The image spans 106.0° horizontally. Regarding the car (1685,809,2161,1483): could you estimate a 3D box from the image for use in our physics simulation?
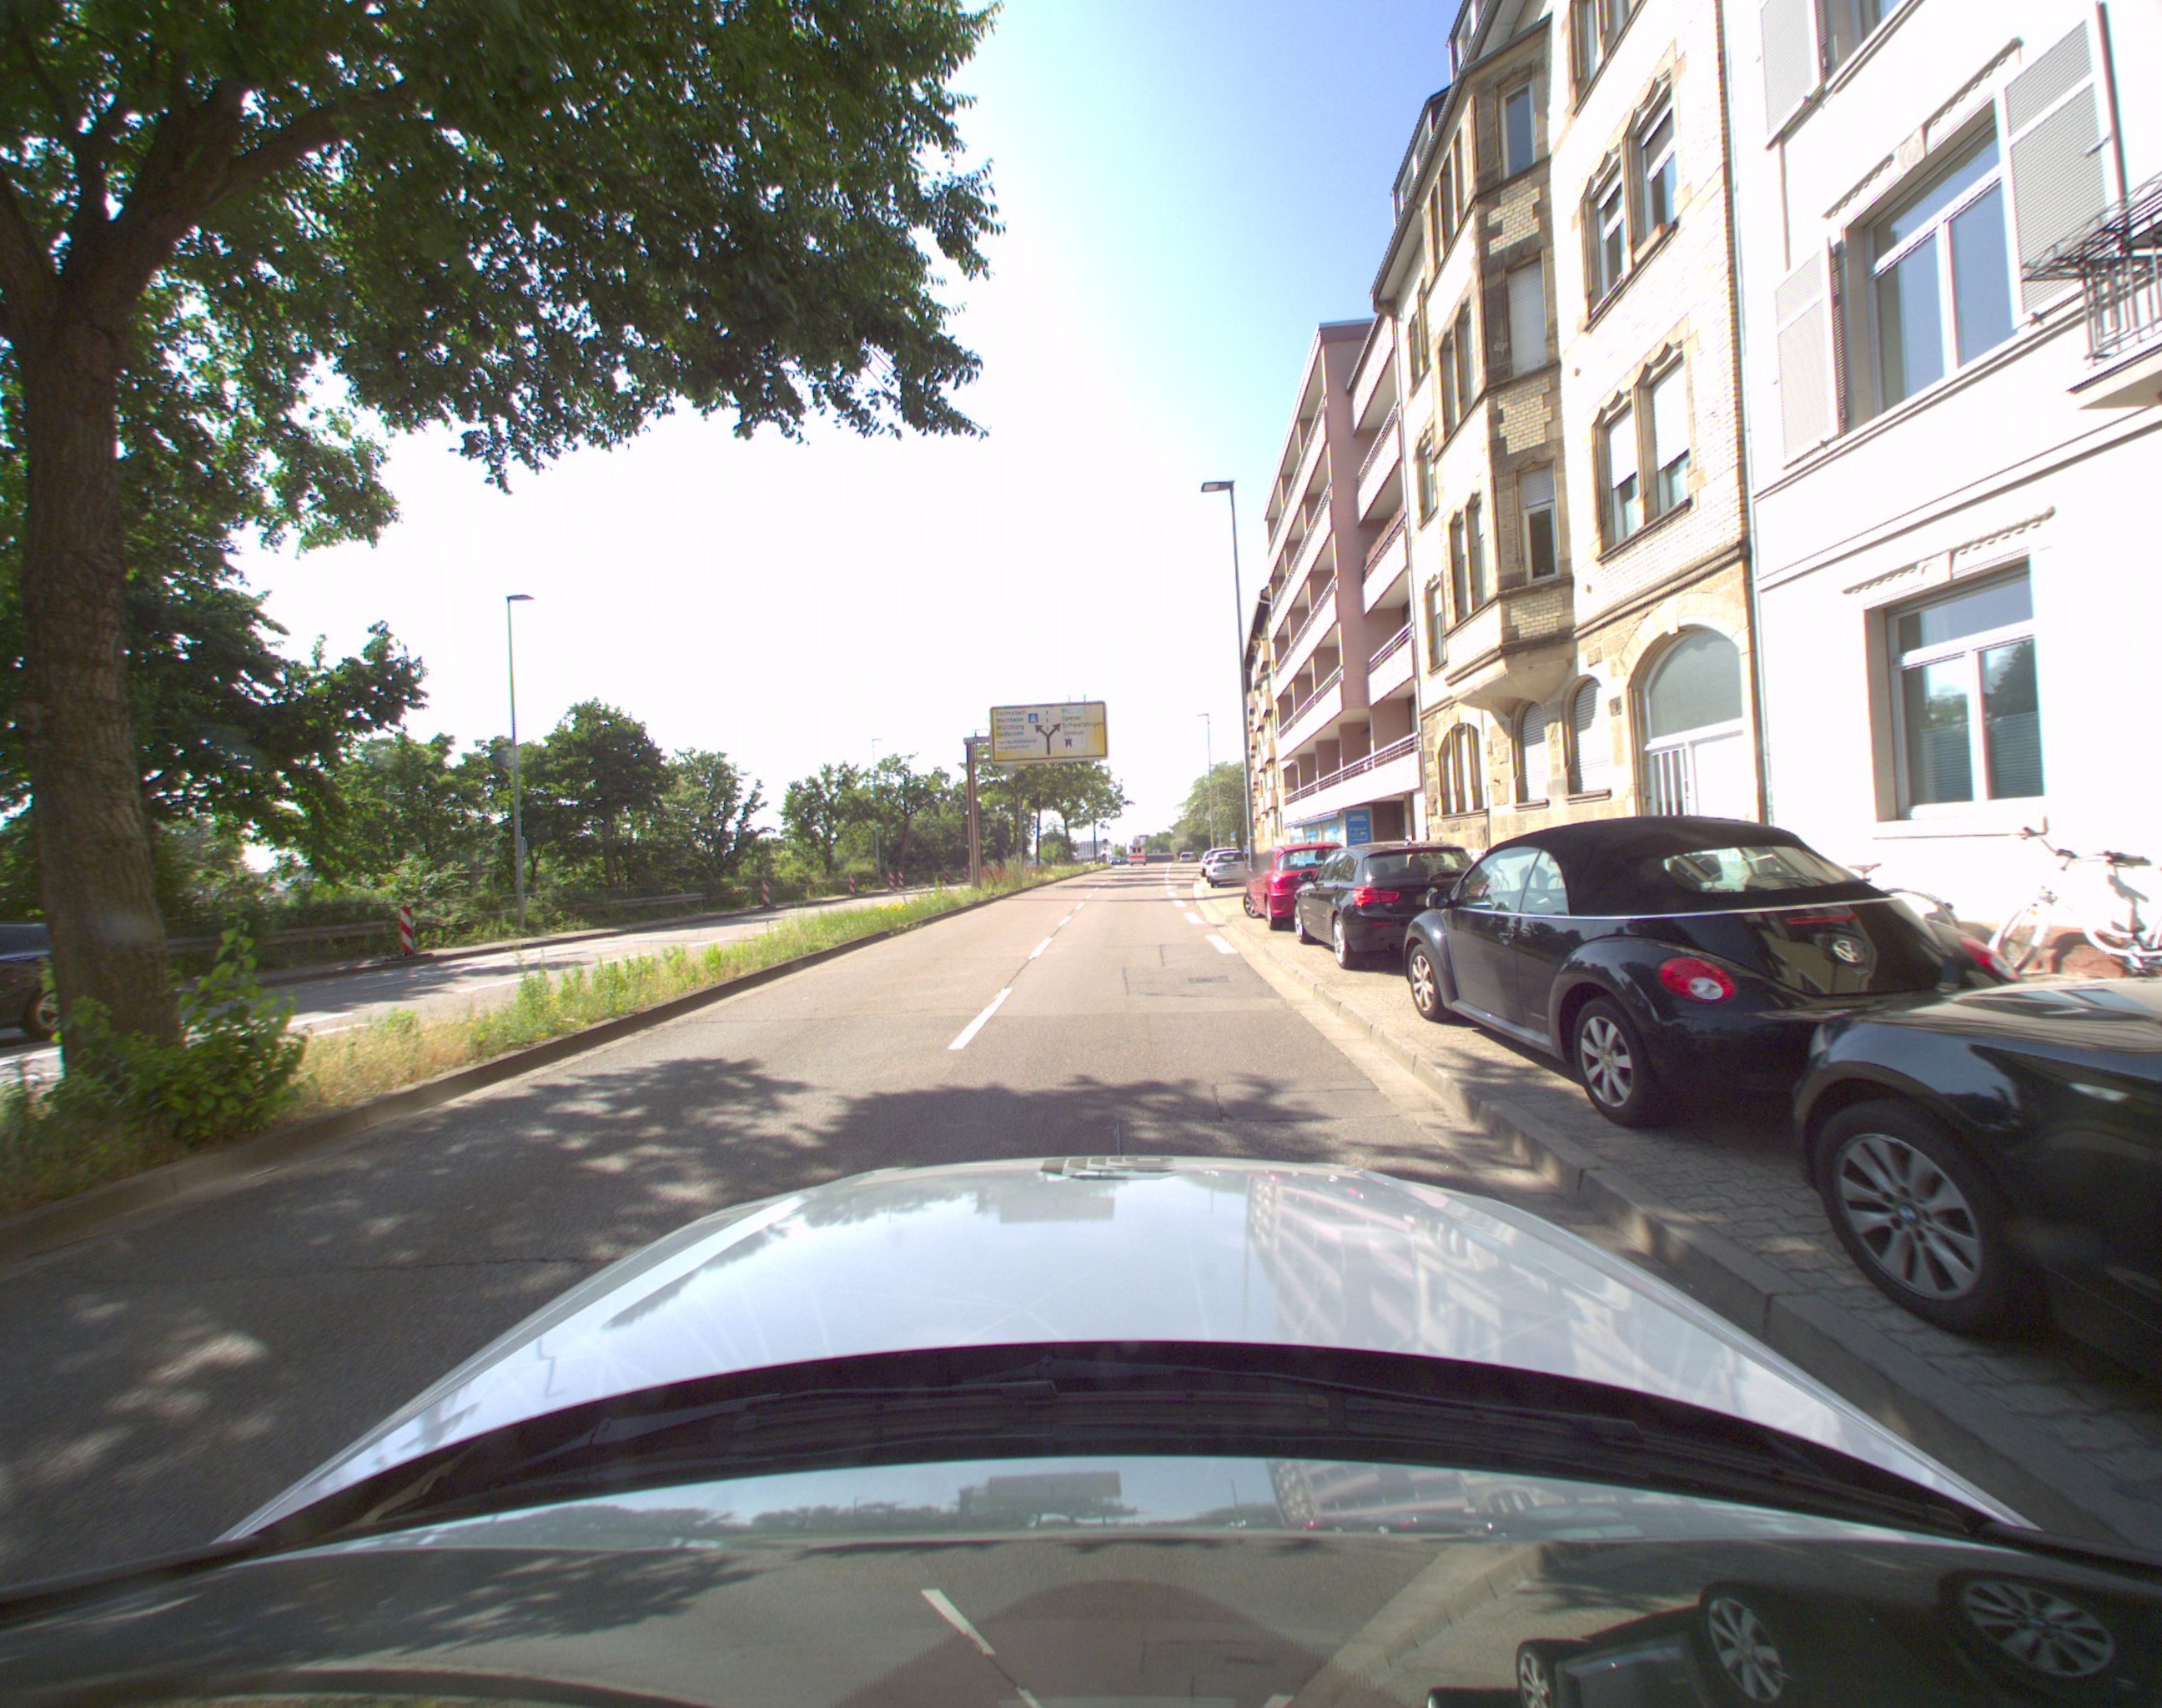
[{"bbox_3d":[3.054,0.570,1.035,1.732,1.416,4.086,-3,-1,5],"label":"car"}]

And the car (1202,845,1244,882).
[{"bbox_3d":[6.671,0.432,38.584,1.726,1.541,4.363,-3,0,8],"label":"car"}]

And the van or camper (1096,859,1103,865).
[{"bbox_3d":[4.850,2.127,211.919,1.459,1.350,4.638,-2,0,6],"label":"van or camper"}]

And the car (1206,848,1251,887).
[{"bbox_3d":[6.069,0.519,33.814,1.668,1.409,3.439,-4,0,9],"label":"car"}]

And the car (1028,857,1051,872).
[{"bbox_3d":[-4.572,1.178,90.279,1.636,1.416,3.980,-6,0,8],"label":"car"}]

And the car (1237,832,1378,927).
[{"bbox_3d":[4.194,0.448,15.708,1.777,1.482,4.004,-4,-1,4],"label":"car"}]

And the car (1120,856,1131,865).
[{"bbox_3d":[8.454,1.247,154.261,1.753,1.474,4.094,-3,0,8],"label":"car"}]

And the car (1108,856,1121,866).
[{"bbox_3d":[5.414,1.079,130.387,1.789,1.530,4.006,-2,0,5],"label":"car"}]

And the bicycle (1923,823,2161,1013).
[{"bbox_3d":[7.203,0.386,5.872,0.564,1.180,1.627,-4,2,1],"label":"bicycle"}]

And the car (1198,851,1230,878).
[{"bbox_3d":[7.882,0.586,48.429,1.746,1.506,4.137,-1,0,8],"label":"car"}]

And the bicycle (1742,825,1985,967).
[{"bbox_3d":[7.214,0.356,7.632,0.652,1.146,1.627,-4,0,1],"label":"bicycle"}]

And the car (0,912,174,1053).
[{"bbox_3d":[-13.598,1.615,8.829,1.984,1.528,4.704,-4,-1,5],"label":"car"}]

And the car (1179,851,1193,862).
[{"bbox_3d":[15.452,0.311,119.602,1.609,1.505,3.473,-1,0,12],"label":"car"}]

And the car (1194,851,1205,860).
[{"bbox_3d":[21.903,0.263,150.689,1.652,1.511,3.802,0,0,12],"label":"car"}]

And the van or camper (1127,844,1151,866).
[{"bbox_3d":[7.762,0.104,109.155,2.280,2.789,5.590,-2,-1,13],"label":"van or camper"}]

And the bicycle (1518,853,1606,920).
[{"bbox_3d":[7.577,0.483,12.904,0.505,0.970,1.655,-3,-1,6],"label":"bicycle"}]

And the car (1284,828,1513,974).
[{"bbox_3d":[3.845,0.508,10.632,1.634,1.453,4.132,-3,-1,5],"label":"car"}]

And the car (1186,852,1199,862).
[{"bbox_3d":[17.724,0.454,129.519,1.761,1.579,4.197,-3,0,9],"label":"car"}]

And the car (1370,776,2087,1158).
[{"bbox_3d":[3.411,0.490,5.422,1.635,1.501,4.013,-4,-1,3],"label":"car"}]
